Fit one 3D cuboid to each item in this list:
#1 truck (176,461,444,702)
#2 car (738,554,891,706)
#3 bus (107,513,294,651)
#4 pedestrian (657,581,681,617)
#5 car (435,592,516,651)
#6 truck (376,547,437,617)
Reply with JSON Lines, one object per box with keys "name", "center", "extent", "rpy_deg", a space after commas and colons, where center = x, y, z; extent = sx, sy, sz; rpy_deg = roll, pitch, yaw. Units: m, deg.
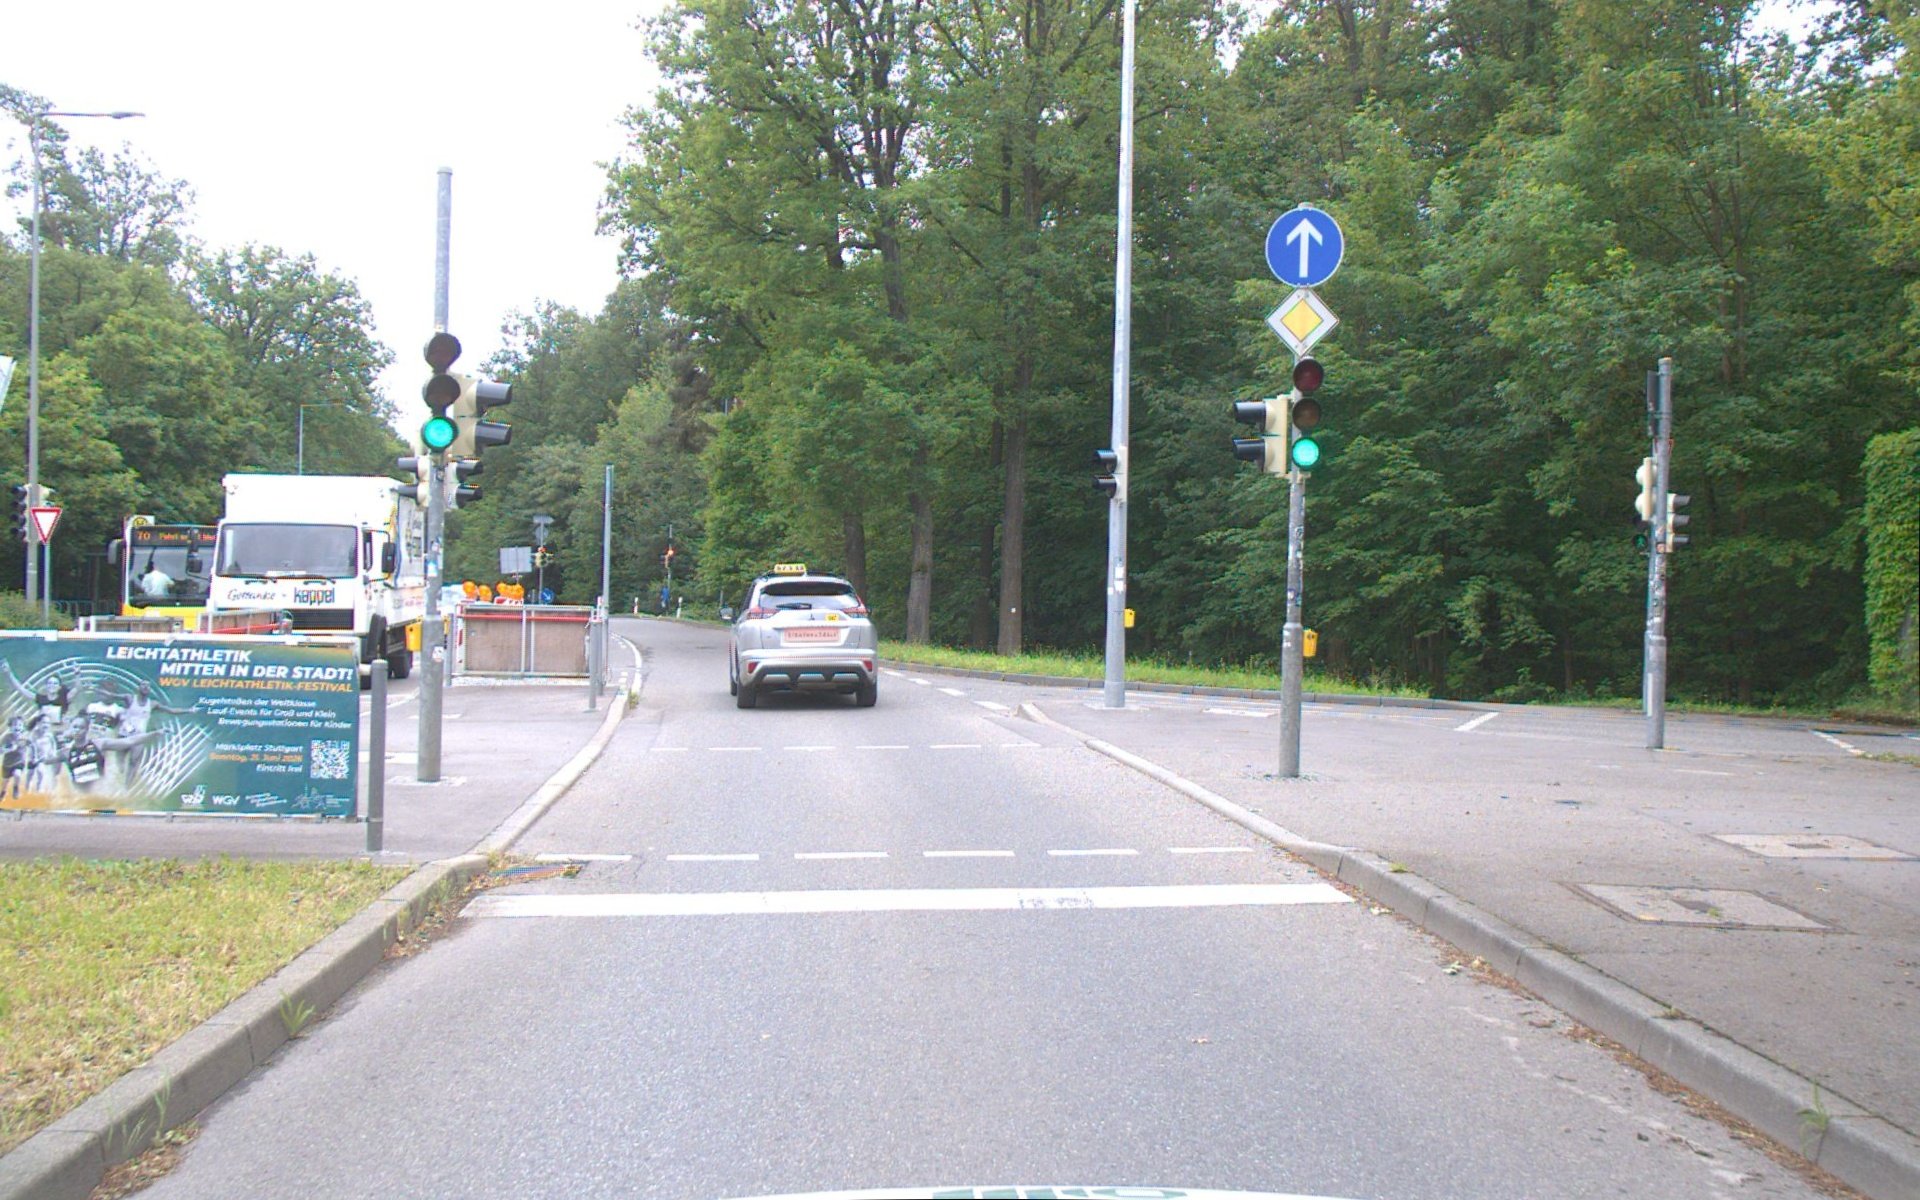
{"name": "truck", "center": [-9.896, -0.277, 25.873], "extent": [2.580, 3.295, 6.193], "rpy_deg": [-1, 0, -9]}
{"name": "car", "center": [-1.920, 0.341, 21.892], "extent": [1.810, 1.811, 3.996], "rpy_deg": [1, 1, -5]}
{"name": "bus", "center": [-19.730, -0.425, 43.601], "extent": [2.851, 3.182, 9.720], "rpy_deg": [1, 0, -15]}
{"name": "pedestrian", "center": [-13.521, -0.049, 76.826], "extent": [1.029, 1.678, 1.066], "rpy_deg": [-1, 1, -12]}
{"name": "car", "center": [-13.361, 0.573, 45.833], "extent": [1.776, 1.535, 4.295], "rpy_deg": [-1, 0, -11]}
{"name": "truck", "center": [-28.578, -0.869, 85.296], "extent": [2.699, 3.376, 7.116], "rpy_deg": [-1, 0, -20]}
